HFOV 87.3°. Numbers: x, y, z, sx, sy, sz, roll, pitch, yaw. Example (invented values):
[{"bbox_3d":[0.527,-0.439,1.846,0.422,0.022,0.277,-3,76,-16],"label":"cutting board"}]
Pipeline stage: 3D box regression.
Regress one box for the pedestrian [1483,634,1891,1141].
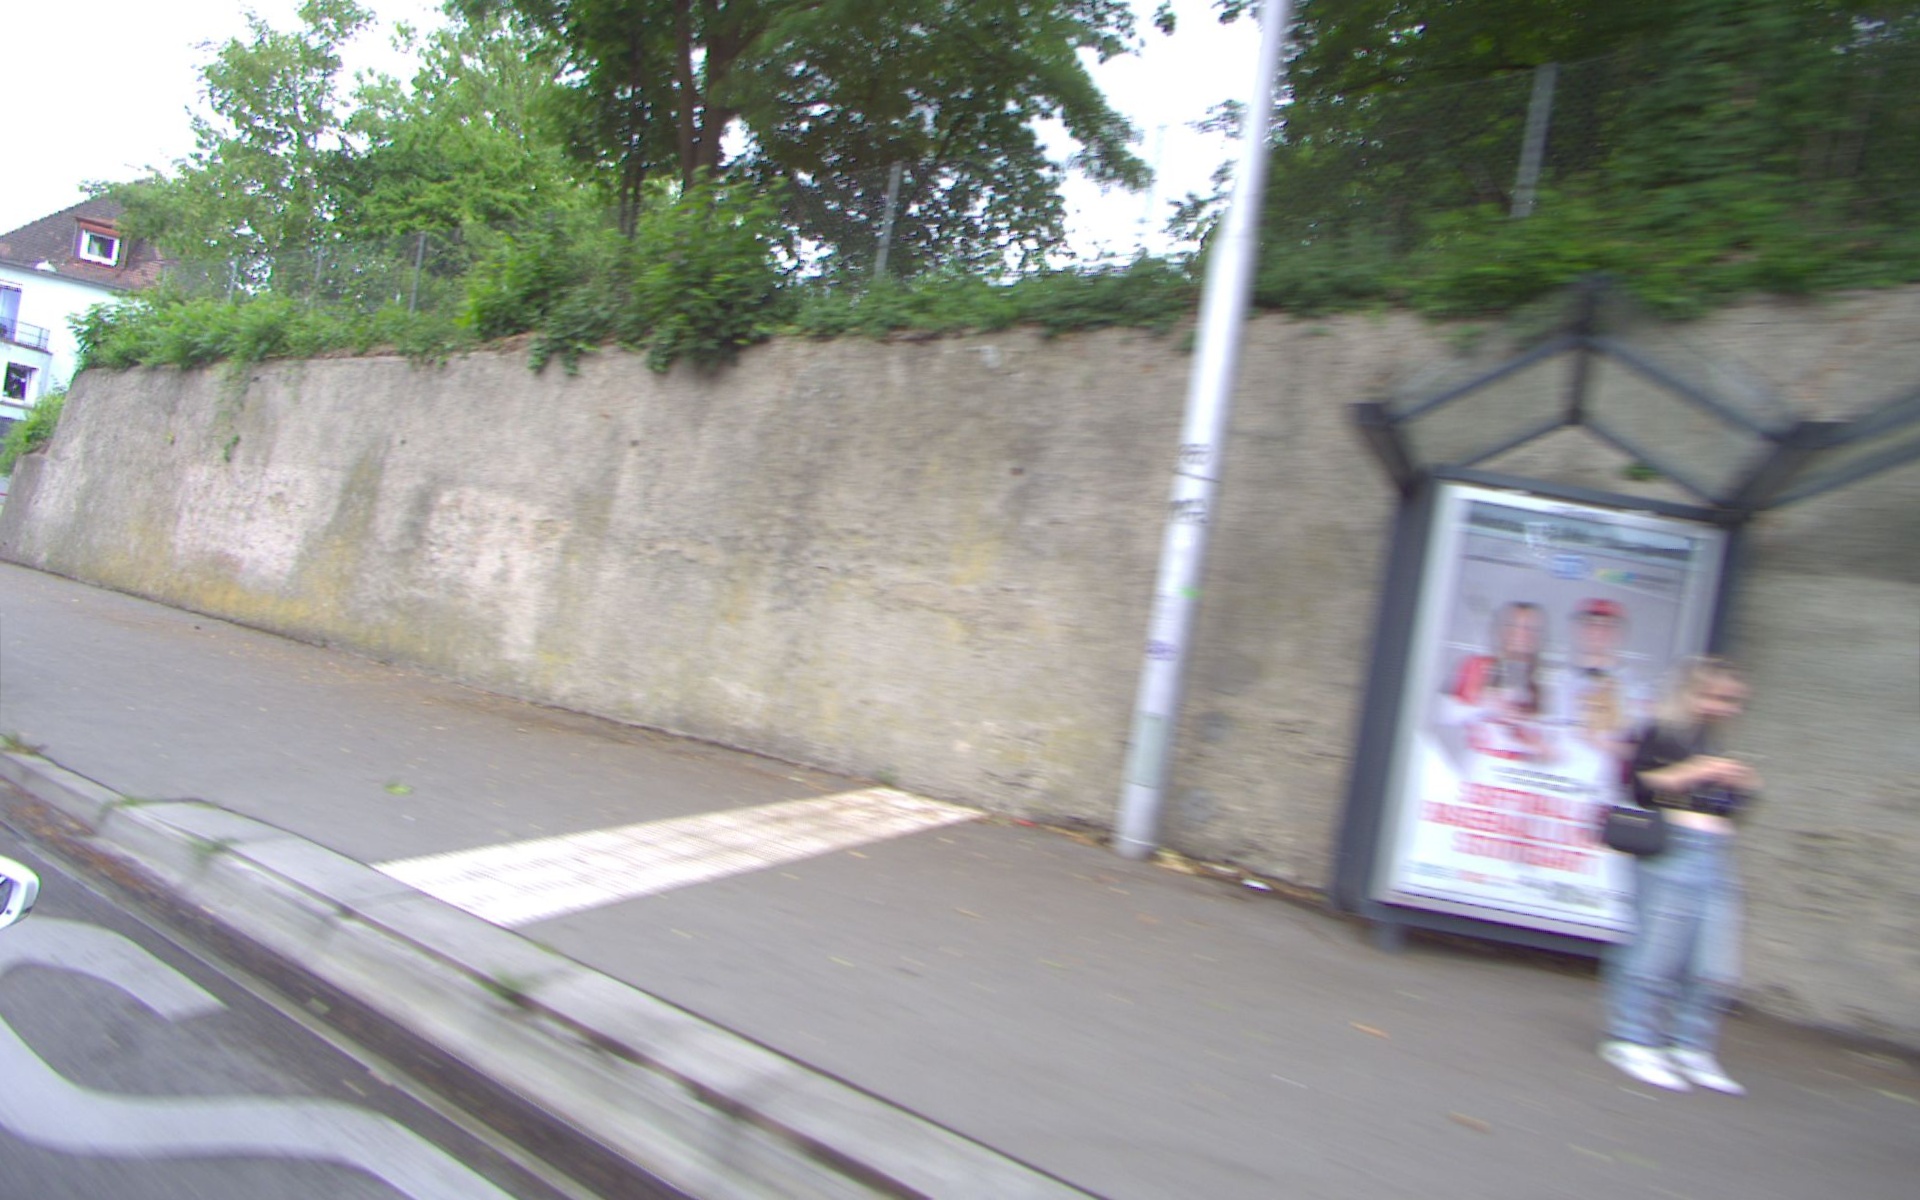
[{"bbox_3d":[2.640,0.994,3.730,0.726,1.608,0.770,7,1,-17],"label":"pedestrian"}]
